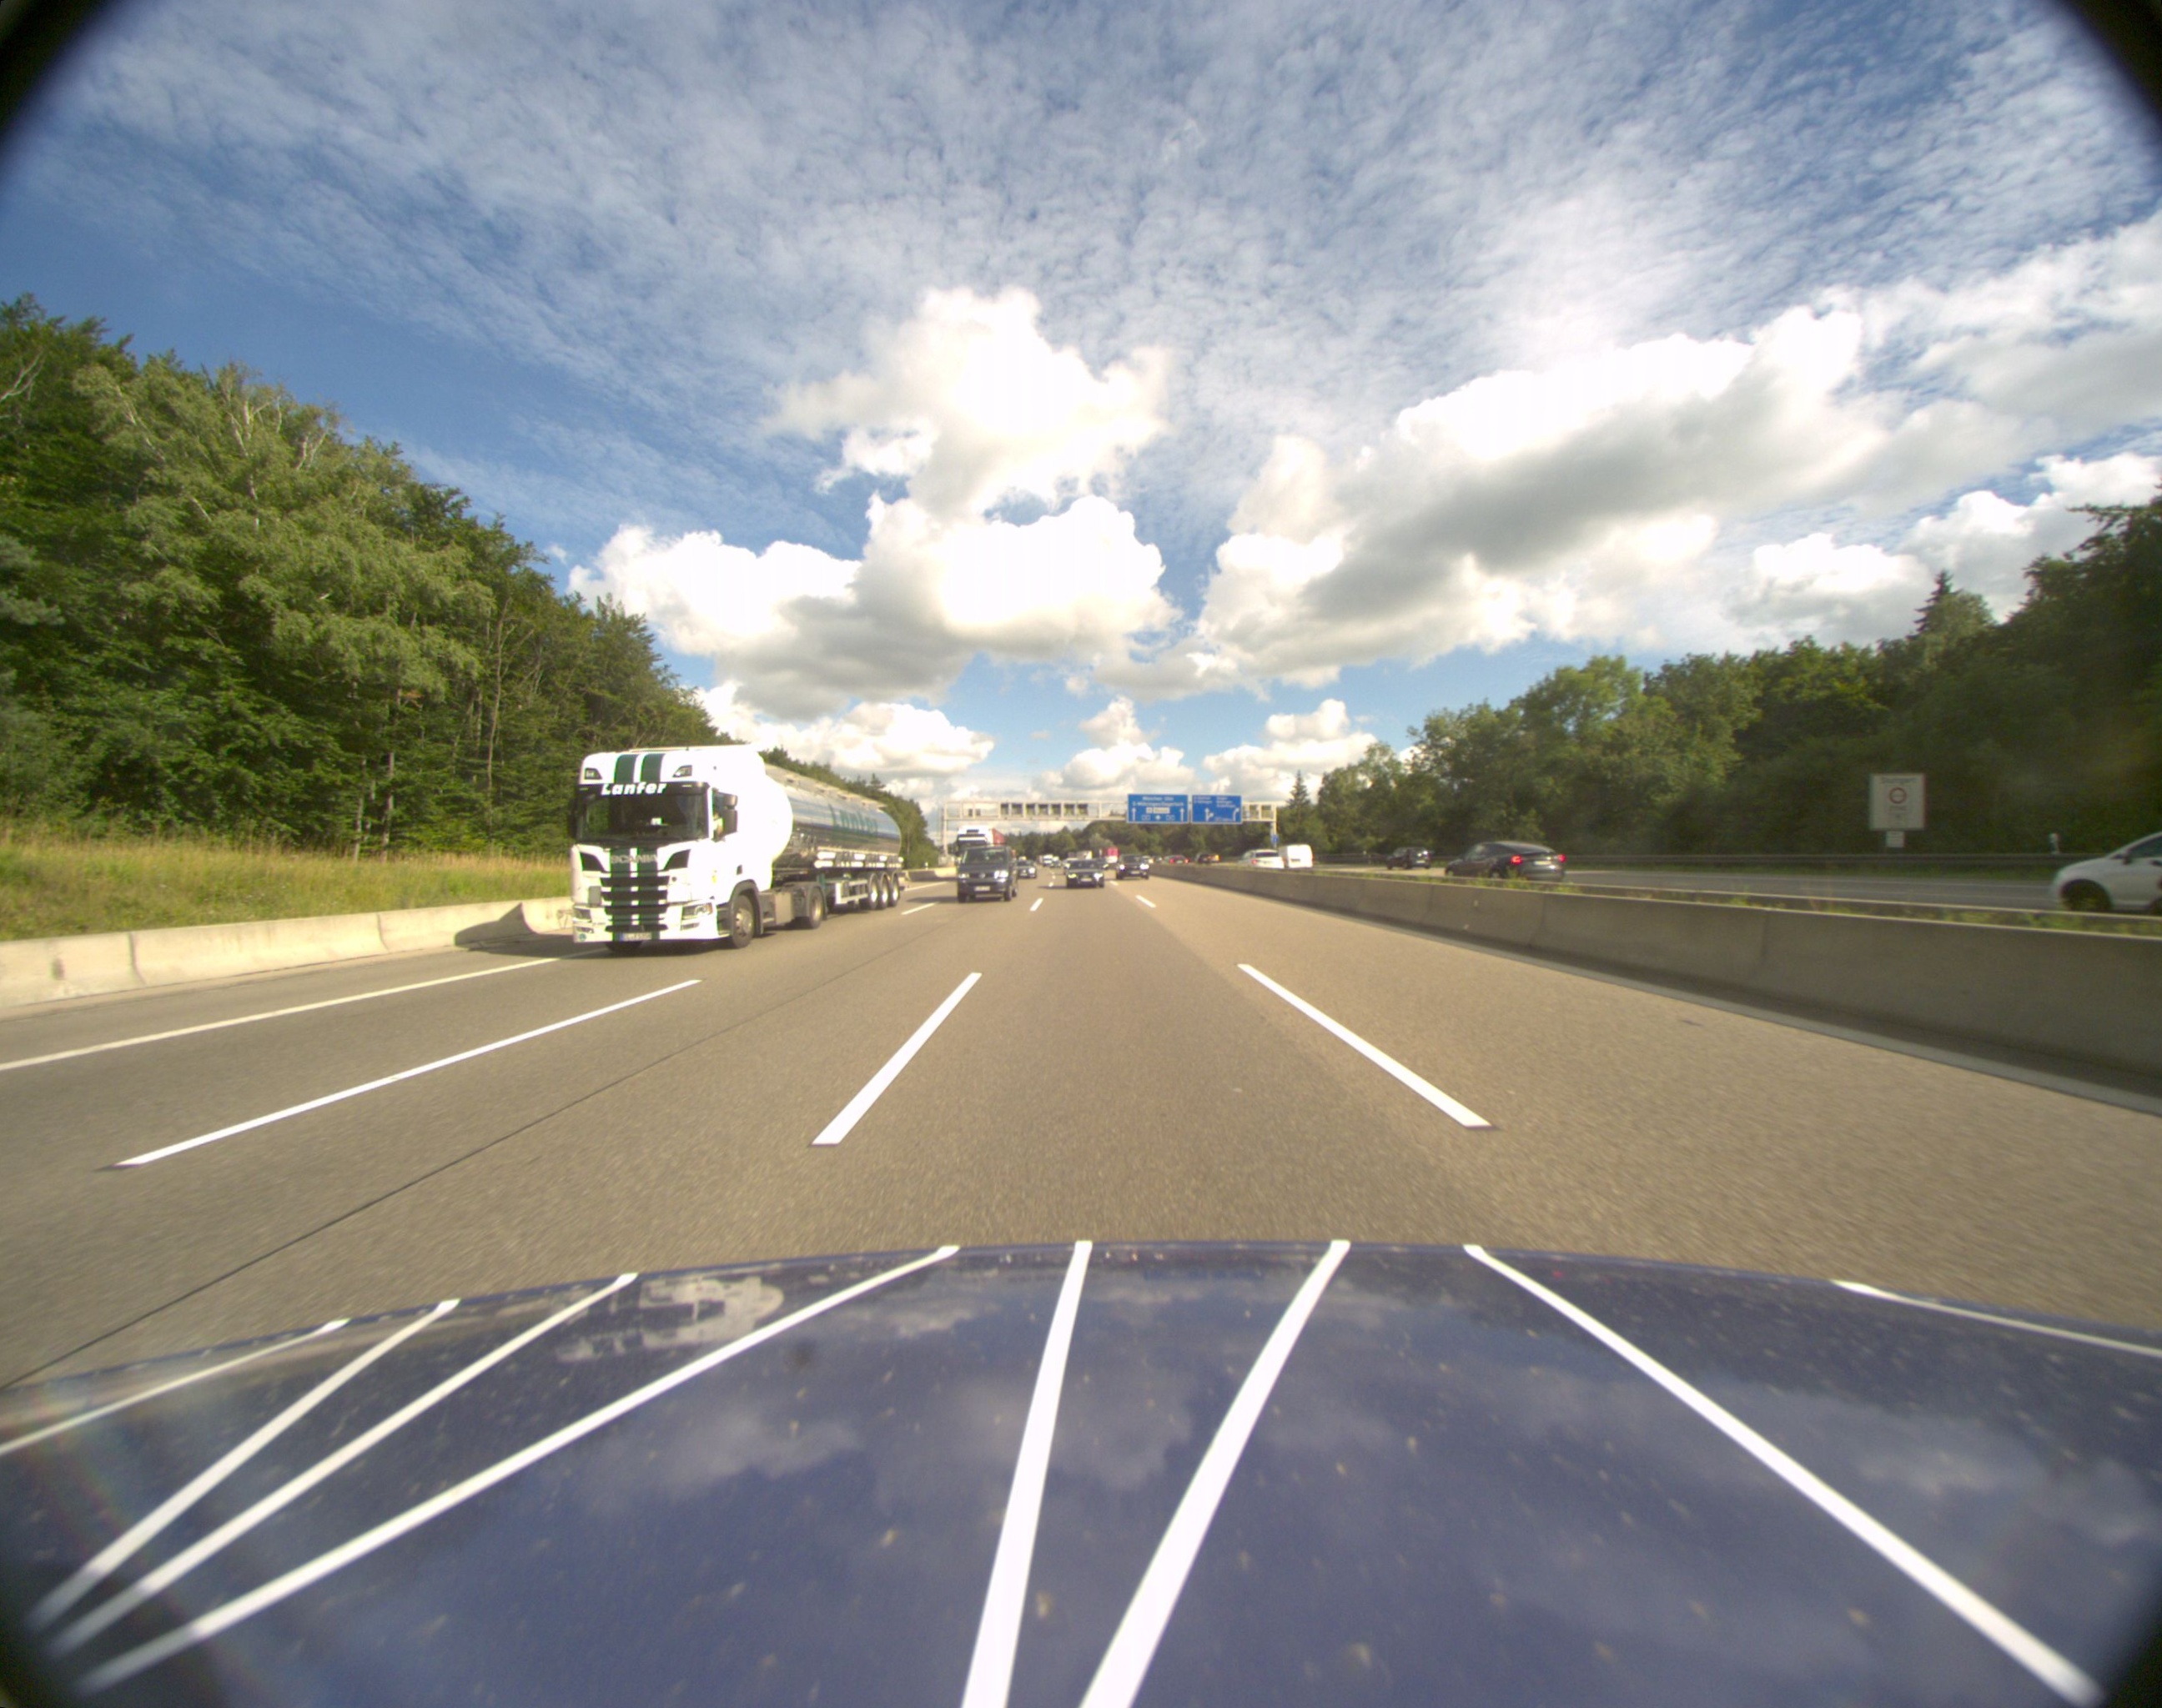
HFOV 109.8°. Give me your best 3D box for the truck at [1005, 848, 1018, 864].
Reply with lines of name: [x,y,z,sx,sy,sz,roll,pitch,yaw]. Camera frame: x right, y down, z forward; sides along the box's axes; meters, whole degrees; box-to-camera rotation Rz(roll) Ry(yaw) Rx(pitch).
truck: [-16.722,0.408,181.982,3.019,3.662,7.557,-1,0,-6]

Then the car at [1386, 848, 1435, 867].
car: [21.721,0.227,50.198,1.498,1.205,3.787,-2,0,-2]

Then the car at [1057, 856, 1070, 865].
car: [-3.038,1.181,133.542,2.153,1.540,4.676,-1,0,-3]

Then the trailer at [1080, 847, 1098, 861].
trailer: [2.440,-0.012,235.435,3.328,4.082,14.144,-2,0,-9]

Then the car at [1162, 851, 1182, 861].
car: [11.601,0.280,96.997,1.652,1.193,4.438,-2,0,-4]

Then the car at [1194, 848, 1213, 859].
car: [16.824,-0.074,104.507,1.726,1.470,4.629,-2,0,-2]

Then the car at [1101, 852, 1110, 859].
car: [5.544,0.296,173.353,1.703,1.519,4.682,-1,1,-4]

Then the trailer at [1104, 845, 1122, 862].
trailer: [7.878,-0.167,189.679,2.747,4.082,13.410,-2,0,-5]

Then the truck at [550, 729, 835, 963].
truck: [-7.363,-0.118,15.522,2.655,3.800,6.081,-1,0,0]

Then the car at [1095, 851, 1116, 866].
car: [2.814,0.481,87.090,2.153,1.540,4.676,-2,0,-1]

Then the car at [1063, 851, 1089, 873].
car: [-0.483,0.690,69.579,2.153,1.800,5.097,-2,0,-2]

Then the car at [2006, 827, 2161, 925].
car: [17.869,0.328,11.865,1.852,1.489,4.129,-2,0,1]

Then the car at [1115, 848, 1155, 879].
car: [3.390,0.582,48.688,2.153,1.800,5.098,-2,0,-1]

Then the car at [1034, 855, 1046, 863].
car: [-7.811,0.946,145.961,2.153,1.540,4.675,-1,0,-4]

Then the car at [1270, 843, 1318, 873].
car: [14.249,0.239,51.176,1.998,1.826,4.730,-2,0,2]

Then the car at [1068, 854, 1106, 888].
car: [0.266,0.801,38.000,1.733,1.500,4.727,-2,0,-1]

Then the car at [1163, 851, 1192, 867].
car: [9.015,0.428,71.655,1.999,1.382,4.747,-2,0,-1]

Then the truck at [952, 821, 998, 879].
truck: [-7.876,-0.275,57.074,2.782,4.021,5.771,-2,0,-3]

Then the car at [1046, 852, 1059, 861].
car: [-6.258,0.541,166.431,2.154,1.806,4.674,-1,0,-8]

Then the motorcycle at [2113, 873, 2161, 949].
motorcycle: [14.032,0.737,9.031,0.483,0.950,2.251,-2,0,1]

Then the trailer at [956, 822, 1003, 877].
trailer: [-8.273,-0.310,63.772,2.782,4.021,13.709,-2,0,-3]

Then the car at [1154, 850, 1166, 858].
car: [15.580,-0.022,149.688,1.671,1.630,4.478,-2,0,-3]

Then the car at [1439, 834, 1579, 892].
car: [13.925,0.246,25.090,1.998,1.677,4.679,-2,0,1]

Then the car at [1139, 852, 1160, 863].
car: [8.658,0.469,96.349,1.999,1.301,4.831,-2,0,-2]

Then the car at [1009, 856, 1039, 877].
car: [-4.400,0.920,58.972,2.153,1.426,5.097,-2,0,-4]

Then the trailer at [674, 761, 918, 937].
trailer: [-7.378,-0.078,22.226,2.655,3.745,11.859,-1,0,0]

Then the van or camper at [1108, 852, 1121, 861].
van or camper: [6.999,0.532,158.658,1.867,1.839,5.153,-2,0,-5]

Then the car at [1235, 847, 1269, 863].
car: [16.834,0.105,74.922,2.077,1.464,4.670,-2,0,-2]

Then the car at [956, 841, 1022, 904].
car: [-3.328,0.636,28.388,1.854,2.097,4.931,-2,0,-1]

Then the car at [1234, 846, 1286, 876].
car: [9.927,0.371,42.506,1.758,1.499,4.679,-2,0,0]
